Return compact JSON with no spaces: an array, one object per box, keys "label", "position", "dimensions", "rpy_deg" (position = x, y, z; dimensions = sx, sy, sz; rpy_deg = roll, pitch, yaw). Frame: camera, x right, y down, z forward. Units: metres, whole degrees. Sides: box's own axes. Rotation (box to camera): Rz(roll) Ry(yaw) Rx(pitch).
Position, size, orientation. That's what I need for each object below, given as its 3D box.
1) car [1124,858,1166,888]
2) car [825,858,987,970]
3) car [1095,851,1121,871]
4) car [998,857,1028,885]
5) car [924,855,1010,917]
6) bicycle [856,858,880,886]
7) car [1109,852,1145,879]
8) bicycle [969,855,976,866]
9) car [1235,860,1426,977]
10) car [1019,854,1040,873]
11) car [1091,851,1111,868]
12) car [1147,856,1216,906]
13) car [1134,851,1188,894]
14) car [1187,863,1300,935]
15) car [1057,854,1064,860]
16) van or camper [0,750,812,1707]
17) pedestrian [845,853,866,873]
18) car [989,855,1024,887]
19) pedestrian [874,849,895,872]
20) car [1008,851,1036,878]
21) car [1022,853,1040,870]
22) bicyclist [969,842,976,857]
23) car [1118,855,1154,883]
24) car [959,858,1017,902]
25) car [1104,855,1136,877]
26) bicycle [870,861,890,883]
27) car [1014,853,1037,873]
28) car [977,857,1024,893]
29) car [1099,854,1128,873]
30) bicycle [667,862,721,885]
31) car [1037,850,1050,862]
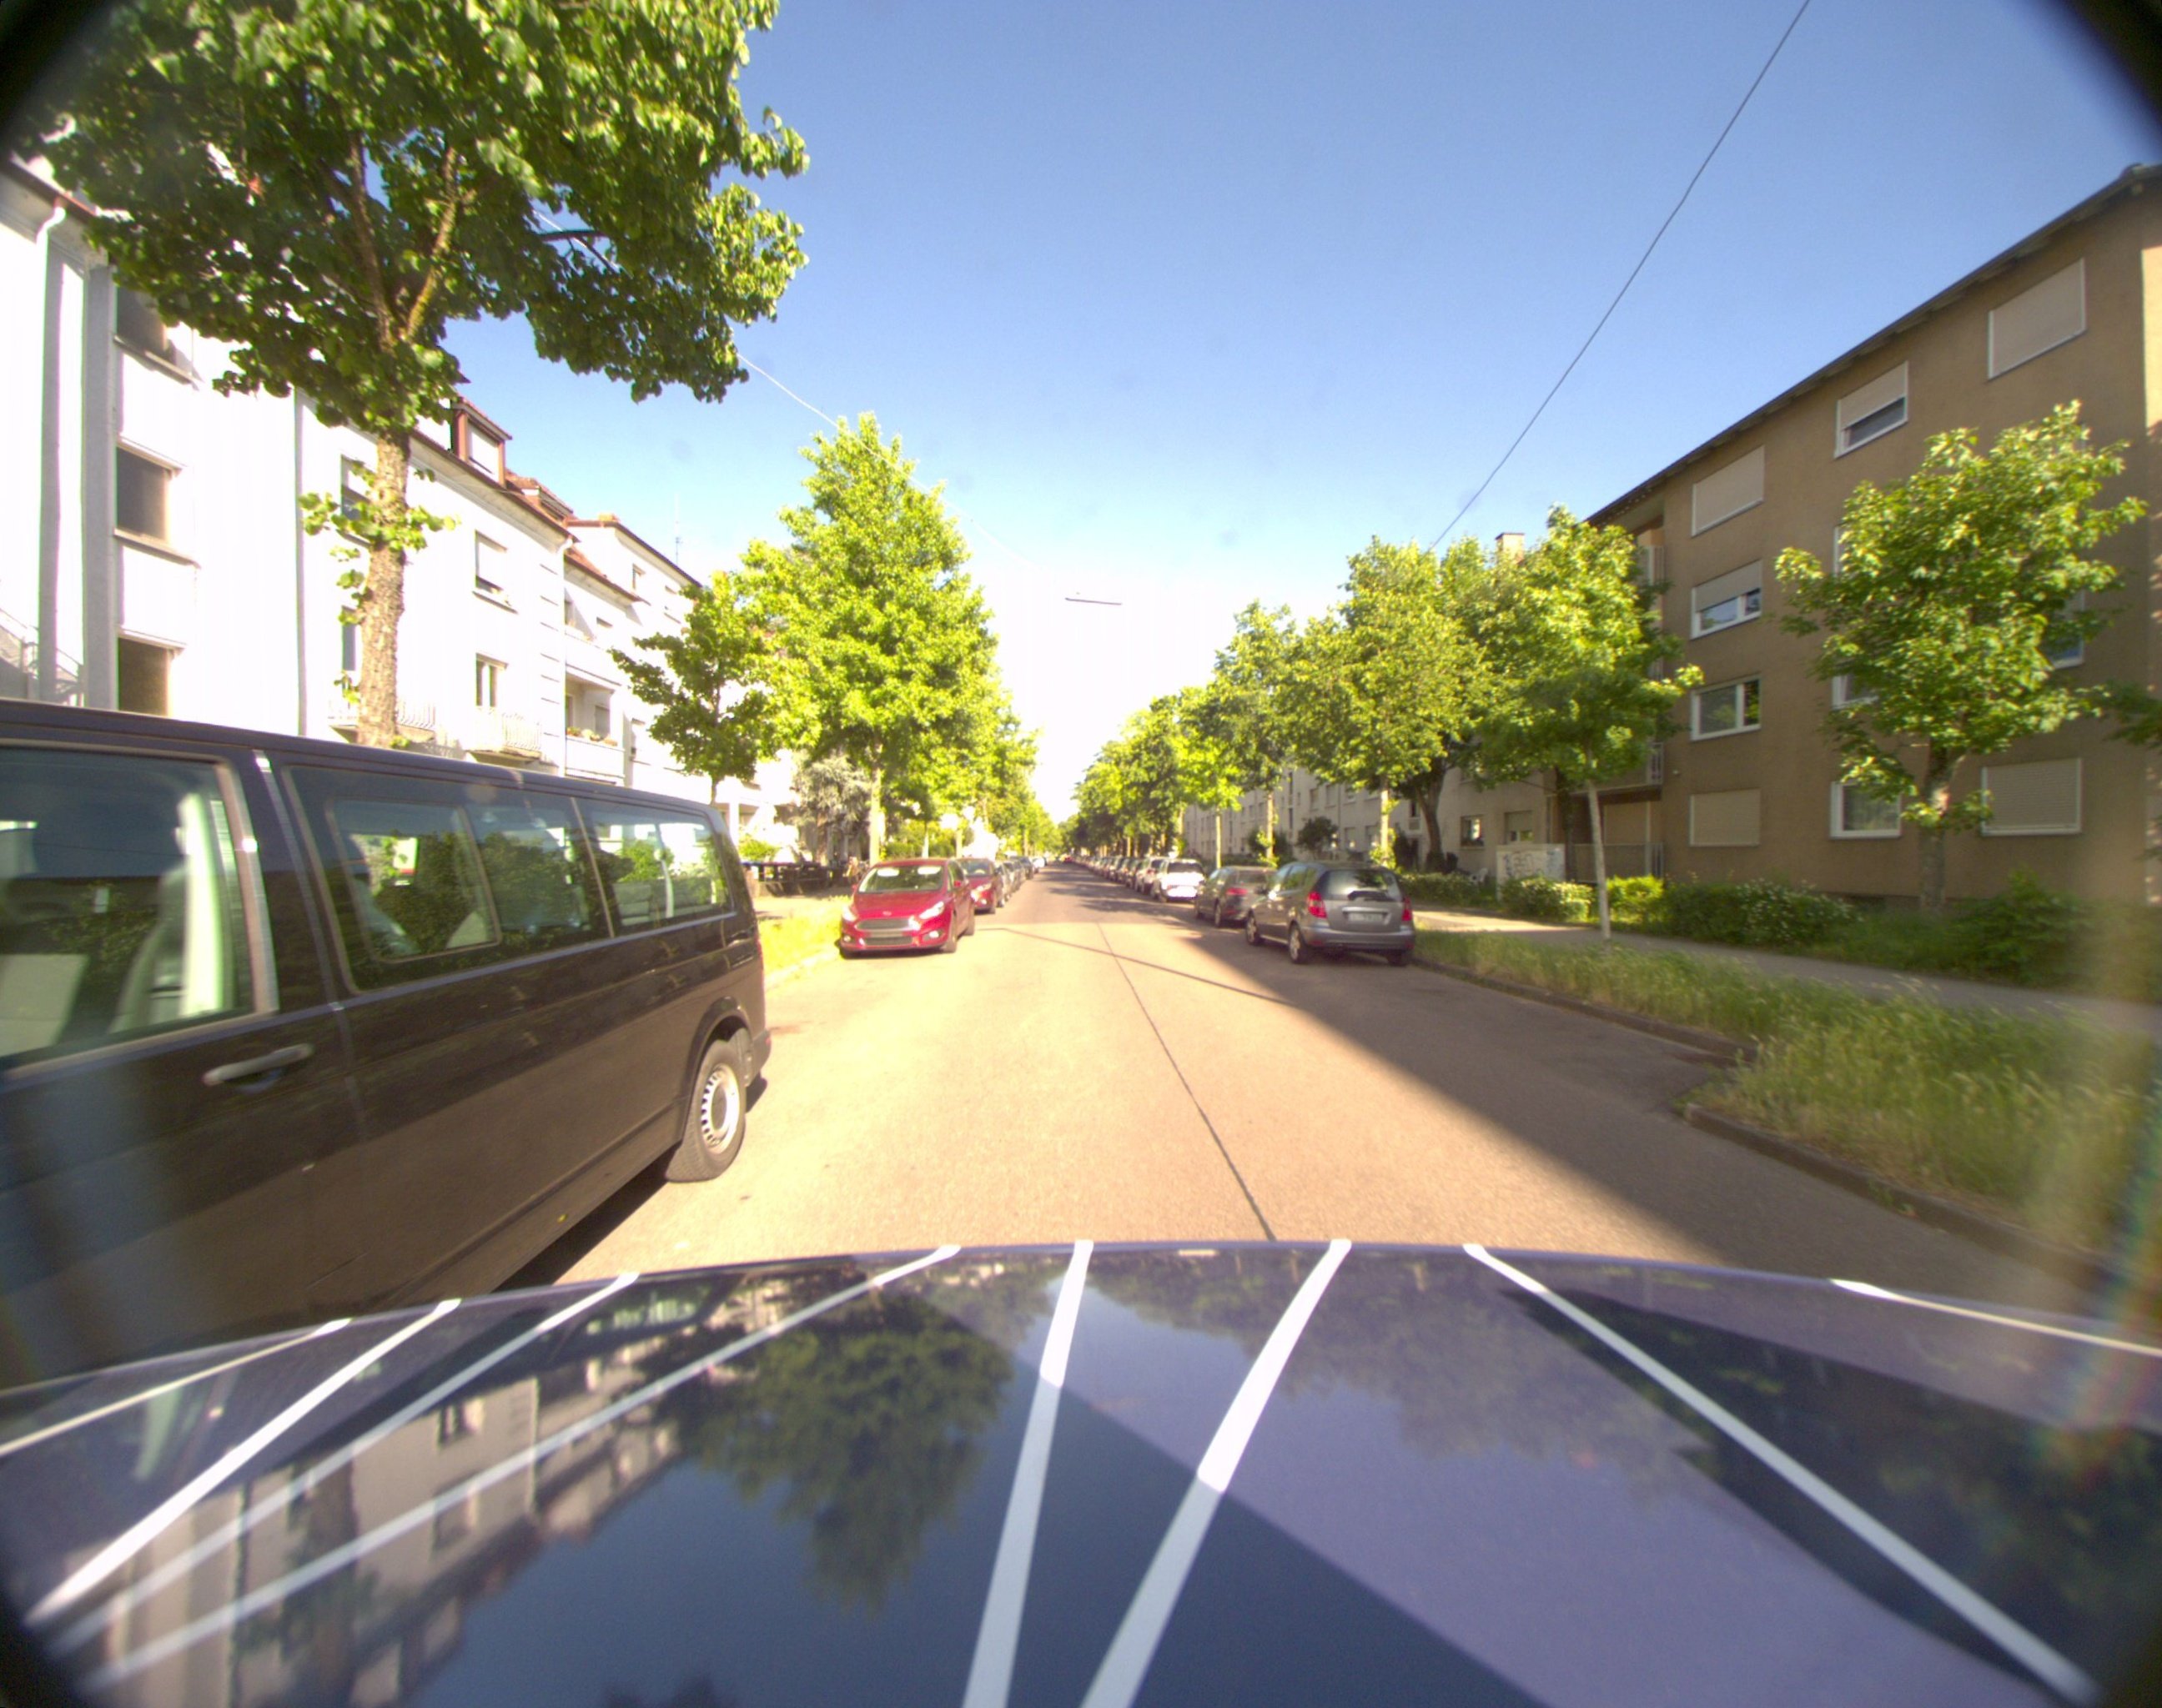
[{"label":"car","position":[3.208,0.917,38.719],"dimensions":[1.662,1.384,4.236],"rpy_deg":[0,0,-2]},{"label":"car","position":[-3.036,0.950,14.313],"dimensions":[1.903,1.604,4.971],"rpy_deg":[-1,1,0]},{"label":"car","position":[2.300,0.568,65.672],"dimensions":[1.880,1.553,4.181],"rpy_deg":[1,1,-2]},{"label":"car","position":[-3.983,0.957,44.866],"dimensions":[1.610,1.416,4.013],"rpy_deg":[-2,1,-4]},{"label":"car","position":[-3.285,0.863,22.733],"dimensions":[1.935,1.558,4.592],"rpy_deg":[2,1,-1]},{"label":"bicycle","position":[-9.851,0.822,35.202],"dimensions":[0.490,1.190,2.174],"rpy_deg":[-2,1,-2]},{"label":"car","position":[2.885,0.702,48.420],"dimensions":[1.820,1.576,4.407],"rpy_deg":[1,0,-2]},{"label":"bicycle","position":[-10.035,0.623,70.306],"dimensions":[0.459,0.956,1.787],"rpy_deg":[1,1,-2]},{"label":"car","position":[3.971,0.943,12.872],"dimensions":[1.725,1.553,4.106],"rpy_deg":[1,1,-2]},{"label":"car","position":[-4.588,0.796,67.651],"dimensions":[1.769,1.487,4.013],"rpy_deg":[-2,1,-4]},{"label":"car","position":[2.014,0.534,77.354],"dimensions":[1.769,1.487,4.014],"rpy_deg":[-2,1,-2]},{"label":"car","position":[3.561,0.918,27.592],"dimensions":[1.721,1.517,3.998],"rpy_deg":[-2,1,-3]},{"label":"car","position":[3.387,0.755,32.854],"dimensions":[1.708,1.670,4.222],"rpy_deg":[1,1,-2]},{"label":"car","position":[3.825,1.001,18.547],"dimensions":[1.664,1.387,4.090],"rpy_deg":[-2,1,-3]},{"label":"car","position":[-4.984,0.777,185.528],"dimensions":[1.769,1.486,3.782],"rpy_deg":[0,0,-3]},{"label":"van or camper","position":[-2.646,0.790,2.029],"dimensions":[1.994,1.852,5.385],"rpy_deg":[-2,1,-2]},{"label":"pedestrian","position":[-13.402,0.553,45.117],"dimensions":[1.036,1.136,0.715],"rpy_deg":[-2,1,-7]},{"label":"car","position":[-3.792,0.851,39.257],"dimensions":[1.610,1.456,3.869],"rpy_deg":[-2,1,-4]},{"label":"pedestrian","position":[-11.795,0.391,45.590],"dimensions":[1.038,1.370,0.714],"rpy_deg":[-1,1,-37]},{"label":"car","position":[-3.980,0.684,52.015],"dimensions":[1.769,1.627,4.013],"rpy_deg":[-2,1,-4]},{"label":"car","position":[-4.754,0.692,72.397],"dimensions":[1.609,1.402,3.668],"rpy_deg":[-2,1,-4]},{"label":"bicyclist","position":[-10.019,-0.415,70.316],"dimensions":[0.497,1.331,0.719],"rpy_deg":[1,1,-2]},{"label":"car","position":[3.095,0.829,43.510],"dimensions":[1.653,1.437,3.965],"rpy_deg":[1,1,-2]},{"label":"car","position":[-3.403,0.900,28.557],"dimensions":[1.715,1.399,4.489],"rpy_deg":[1,1,-1]},{"label":"car","position":[2.685,0.802,53.493],"dimensions":[1.880,1.367,4.067],"rpy_deg":[1,1,-2]},{"label":"bicycle","position":[-10.004,0.878,37.869],"dimensions":[0.433,1.006,2.248],"rpy_deg":[-6,1,-4]},{"label":"car","position":[-4.533,0.719,62.168],"dimensions":[1.769,1.487,3.931],"rpy_deg":[-2,1,-4]},{"label":"car","position":[-3.607,0.915,34.518],"dimensions":[1.769,1.389,3.694],"rpy_deg":[-2,1,-1]},{"label":"car","position":[2.532,0.714,60.042],"dimensions":[1.880,1.367,4.181],"rpy_deg":[1,1,-2]},{"label":"bicycle","position":[-16.348,0.830,32.138],"dimensions":[2.035,0.913,0.559],"rpy_deg":[1,2,3]},{"label":"car","position":[-5.334,0.243,108.493],"dimensions":[1.892,1.624,3.887],"rpy_deg":[0,0,-2]}]
